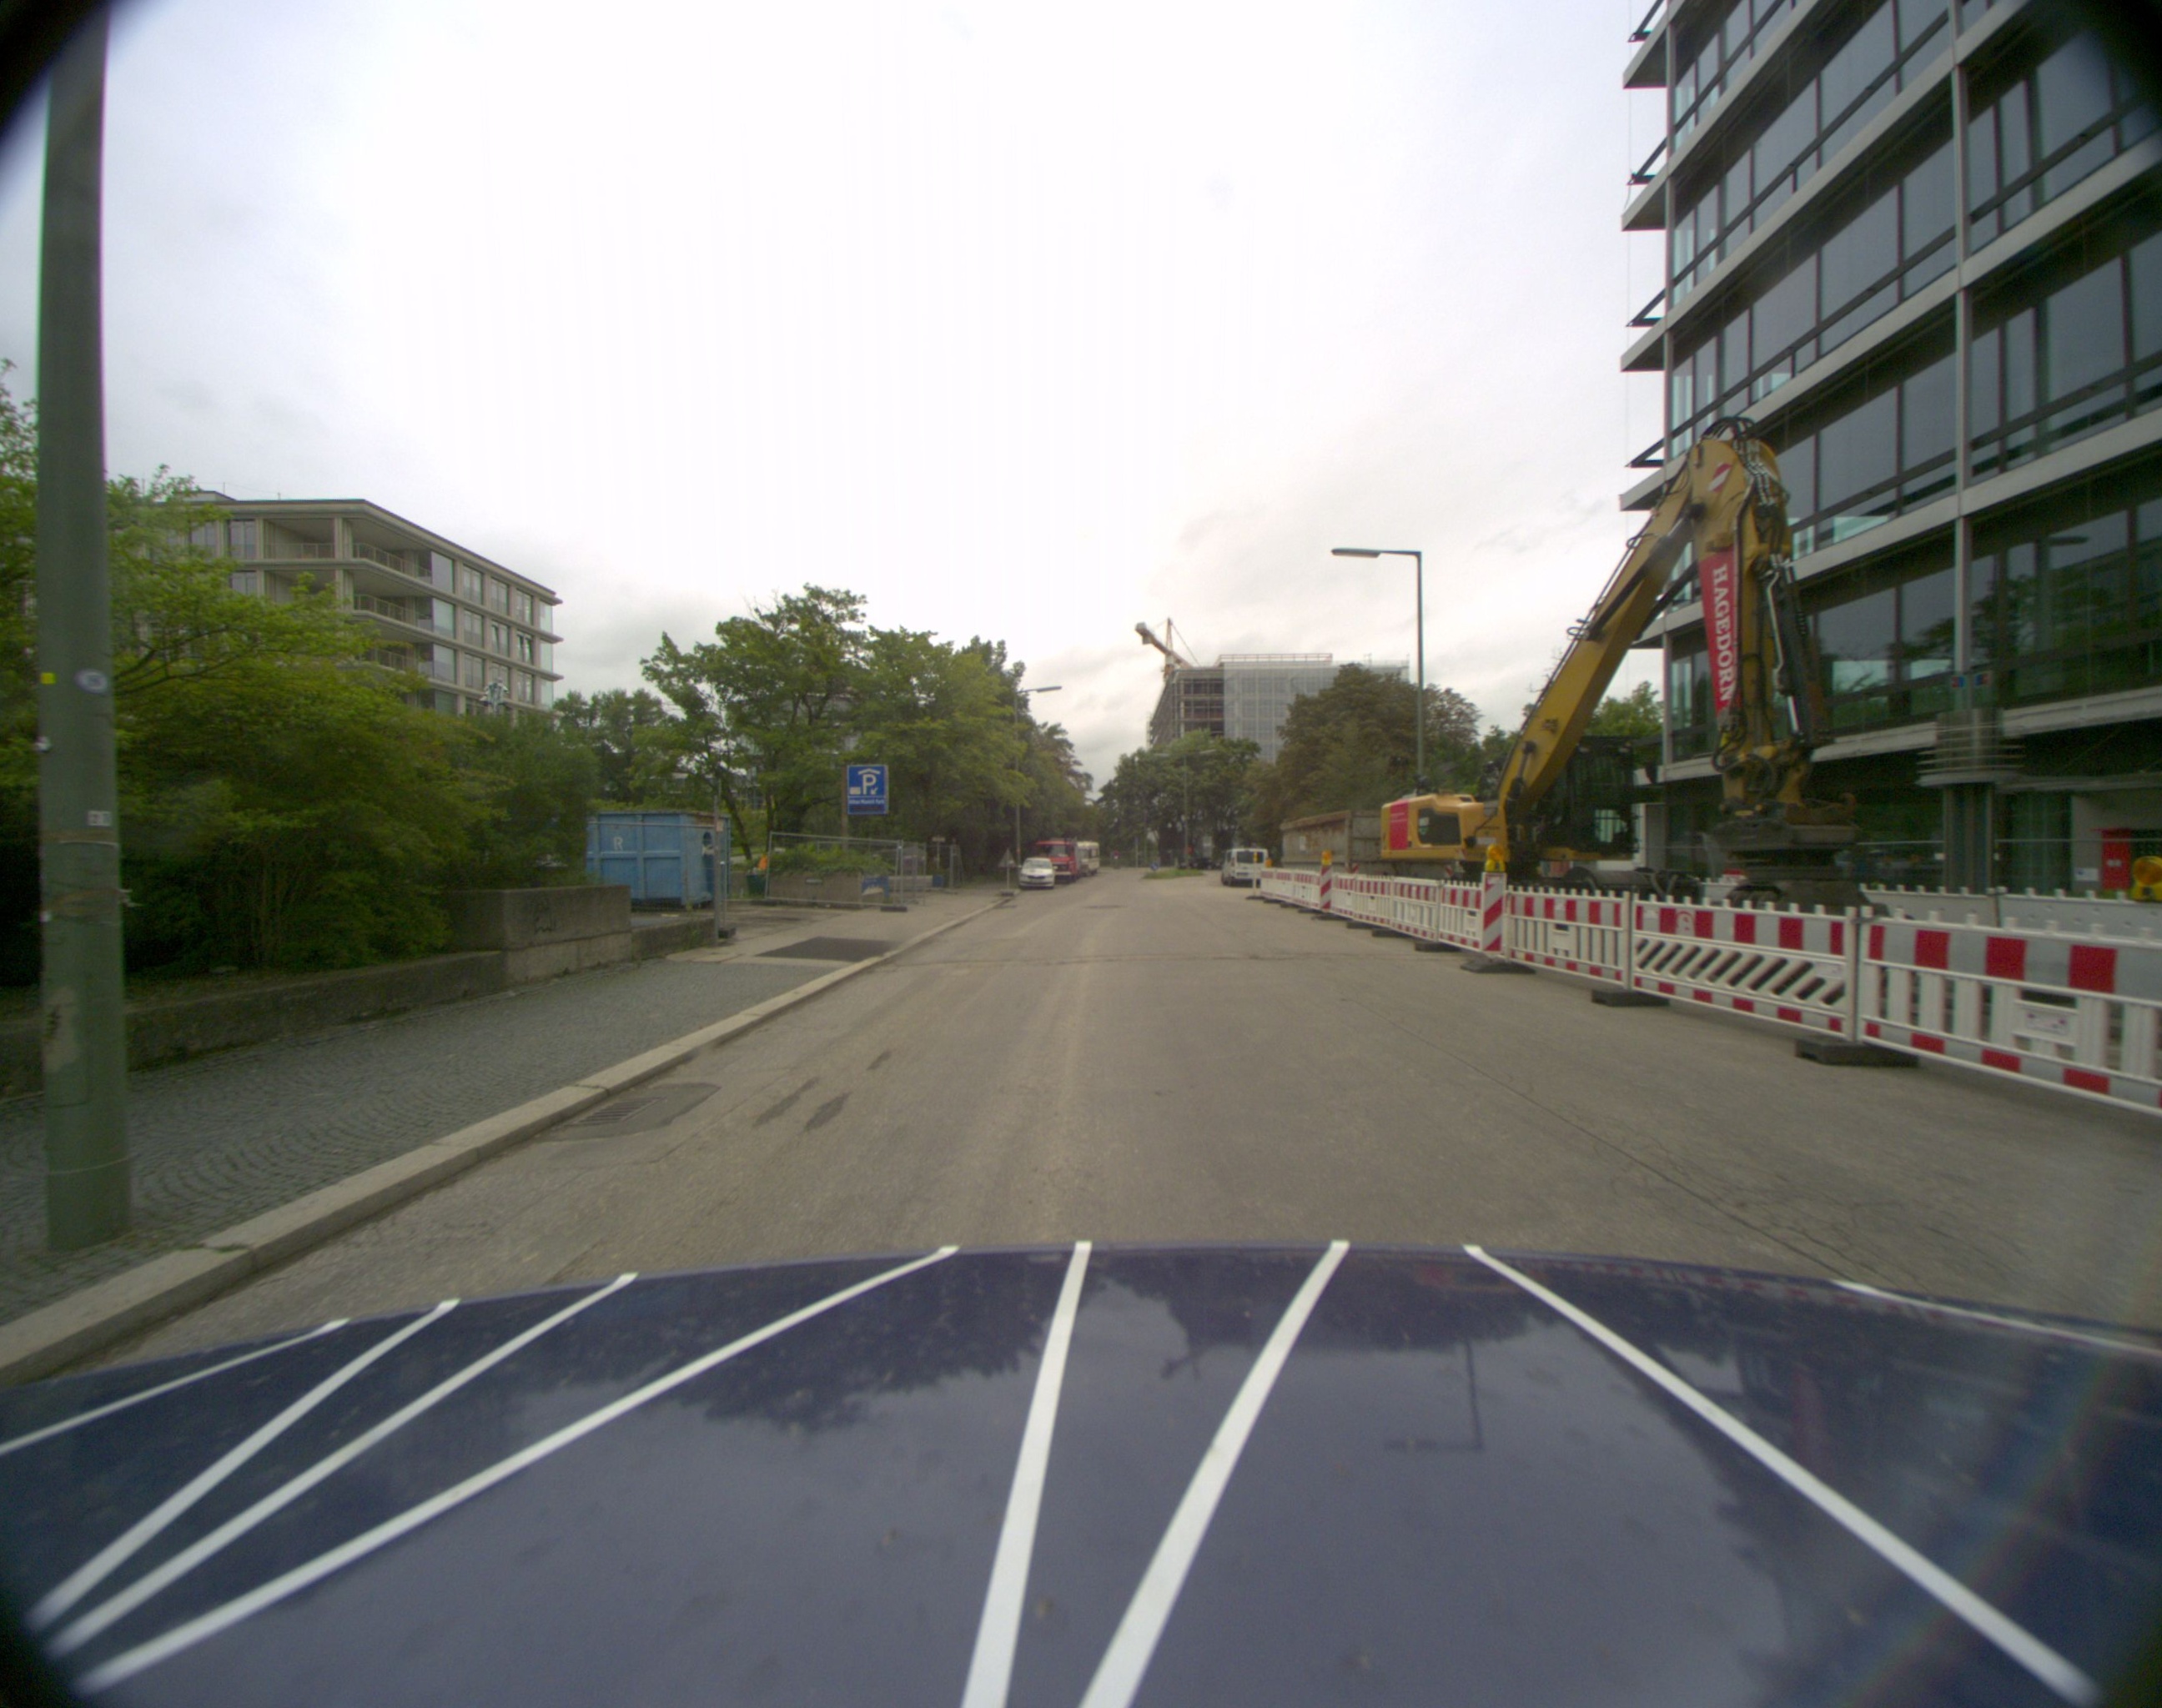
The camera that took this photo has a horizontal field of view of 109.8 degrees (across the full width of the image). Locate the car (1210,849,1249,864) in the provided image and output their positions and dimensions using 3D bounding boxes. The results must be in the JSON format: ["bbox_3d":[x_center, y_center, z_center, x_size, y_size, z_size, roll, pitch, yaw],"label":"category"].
[{"bbox_3d":[16.464,0.290,84.361,3.892,1.564,1.785,0,2,-26],"label":"car"}]

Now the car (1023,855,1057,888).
[{"bbox_3d":[-1.999,0.809,37.617,1.536,1.483,4.059,0,1,-1],"label":"car"}]

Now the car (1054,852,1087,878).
[{"bbox_3d":[-0.651,0.724,50.339,1.782,1.630,4.399,0,0,4],"label":"car"}]

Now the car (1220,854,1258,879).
[{"bbox_3d":[9.753,0.735,47.182,1.997,1.450,4.122,2,0,8],"label":"car"}]

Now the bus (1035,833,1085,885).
[{"bbox_3d":[-1.140,0.275,44.312,2.077,2.789,6.275,0,0,6],"label":"bus"}]

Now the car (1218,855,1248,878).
[{"bbox_3d":[10.434,0.828,52.034,1.739,1.450,4.035,2,0,14],"label":"car"}]

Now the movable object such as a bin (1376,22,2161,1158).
[{"bbox_3d":[7.680,-1.529,10.271,2.911,6.526,11.783,0,1,1],"label":"movable object such as a bin"}]

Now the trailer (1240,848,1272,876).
[{"bbox_3d":[13.871,0.623,60.280,1.778,2.169,2.782,2,1,28],"label":"trailer"}]

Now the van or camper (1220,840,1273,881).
[{"bbox_3d":[8.760,0.339,40.657,1.993,2.022,5.589,1,0,5],"label":"van or camper"}]

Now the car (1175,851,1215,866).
[{"bbox_3d":[12.362,0.459,82.321,3.891,1.564,1.786,0,2,-21],"label":"car"}]

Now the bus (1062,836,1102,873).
[{"bbox_3d":[0.159,0.014,58.212,2.076,2.714,5.871,0,0,10],"label":"bus"}]
